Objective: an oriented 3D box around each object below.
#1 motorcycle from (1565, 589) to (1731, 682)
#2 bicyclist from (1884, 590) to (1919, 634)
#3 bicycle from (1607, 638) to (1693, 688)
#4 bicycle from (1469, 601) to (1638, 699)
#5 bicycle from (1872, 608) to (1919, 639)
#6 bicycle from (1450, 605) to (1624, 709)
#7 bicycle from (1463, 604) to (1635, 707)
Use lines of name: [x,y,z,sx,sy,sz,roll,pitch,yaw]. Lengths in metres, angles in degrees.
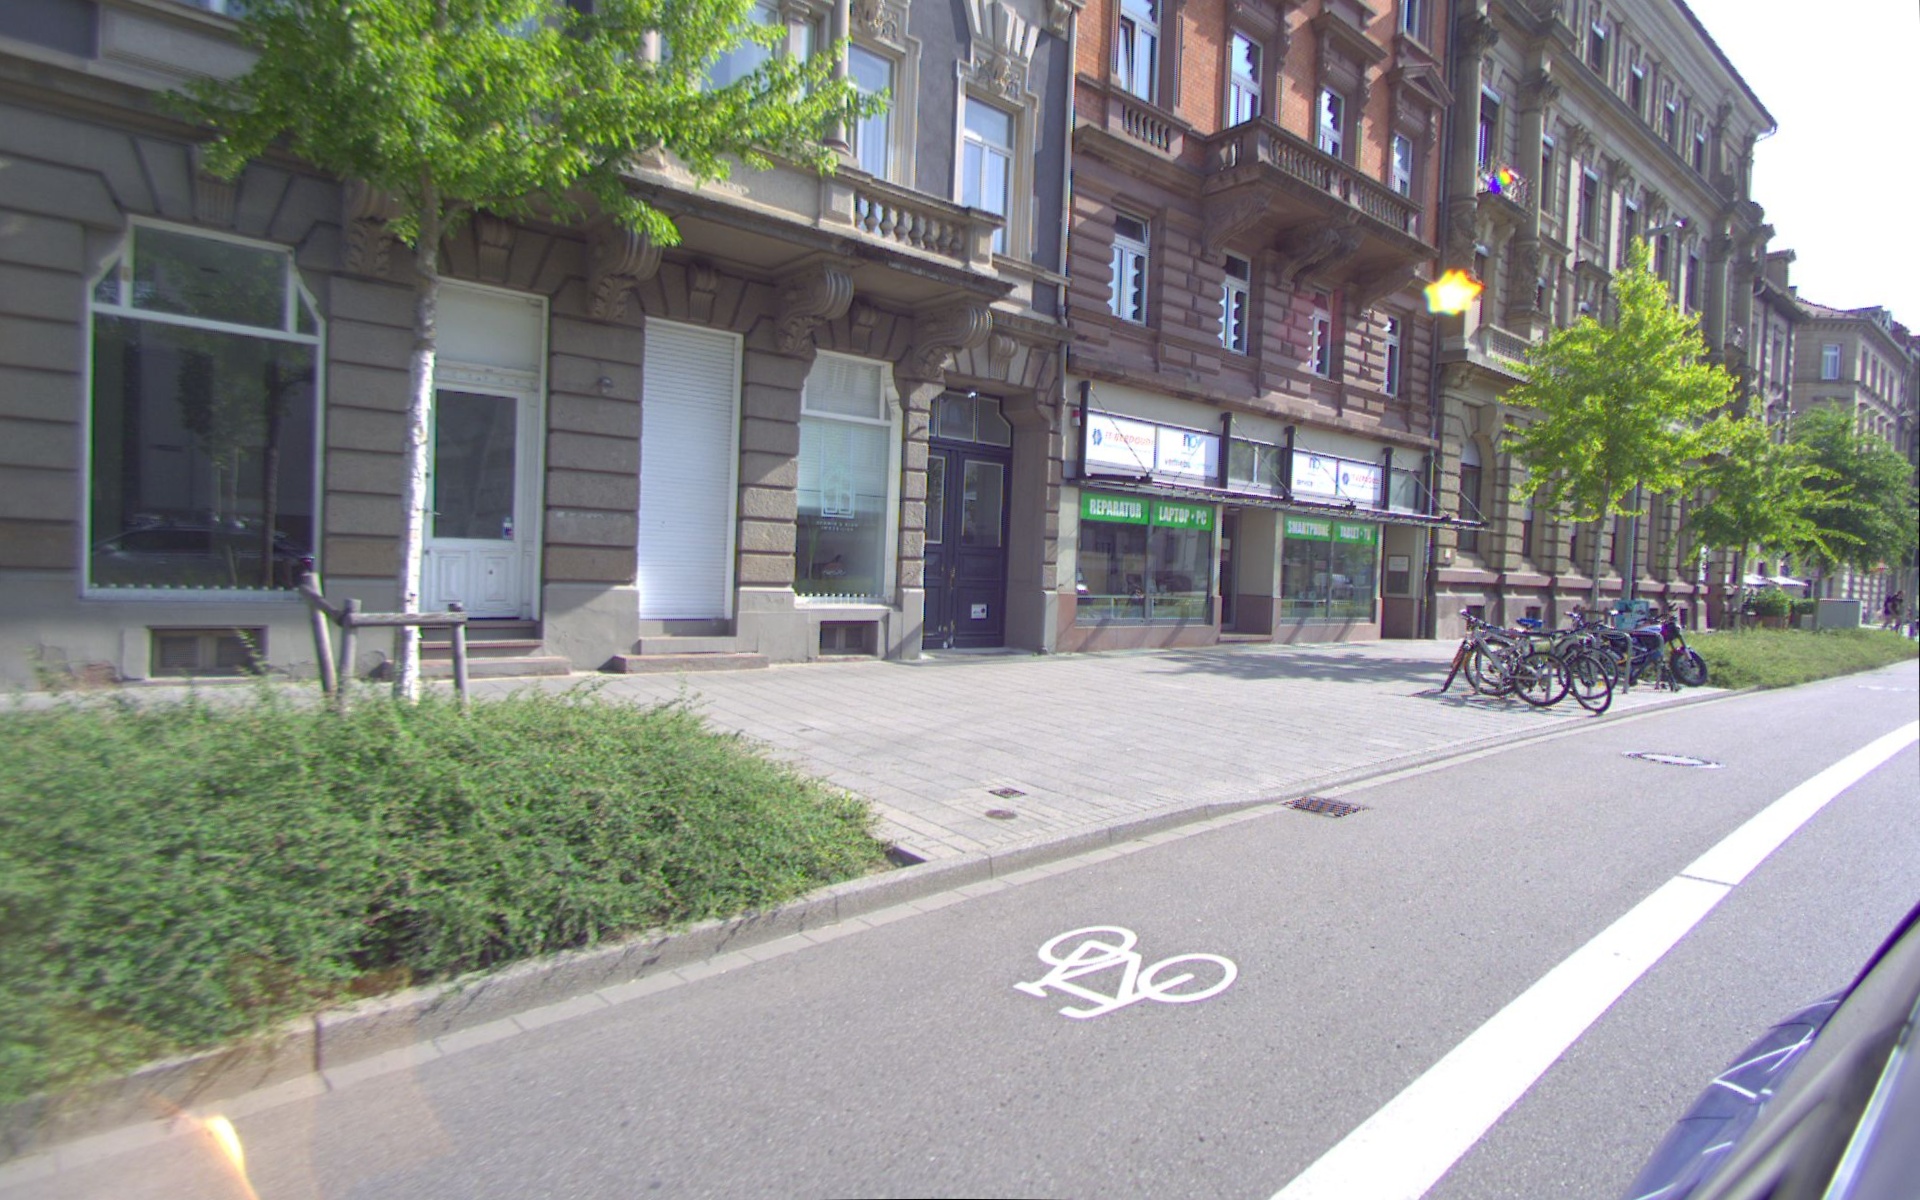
motorcycle: [11.065,0.546,16.354,2.013,1.302,0.702,4,2,15]
bicyclist: [34.007,0.420,36.364,0.573,1.500,0.934,2,3,-19]
bicycle: [10.353,0.933,15.201,0.354,0.617,0.961,1,4,-38]
bicycle: [7.976,0.635,13.665,0.660,1.109,1.809,1,4,-44]
bicycle: [34.003,0.846,36.350,0.496,0.964,1.790,2,4,-19]
bicycle: [7.050,0.662,12.457,0.366,1.066,1.789,1,4,-40]
bicycle: [7.349,0.662,12.705,0.366,1.066,1.789,1,4,-40]
